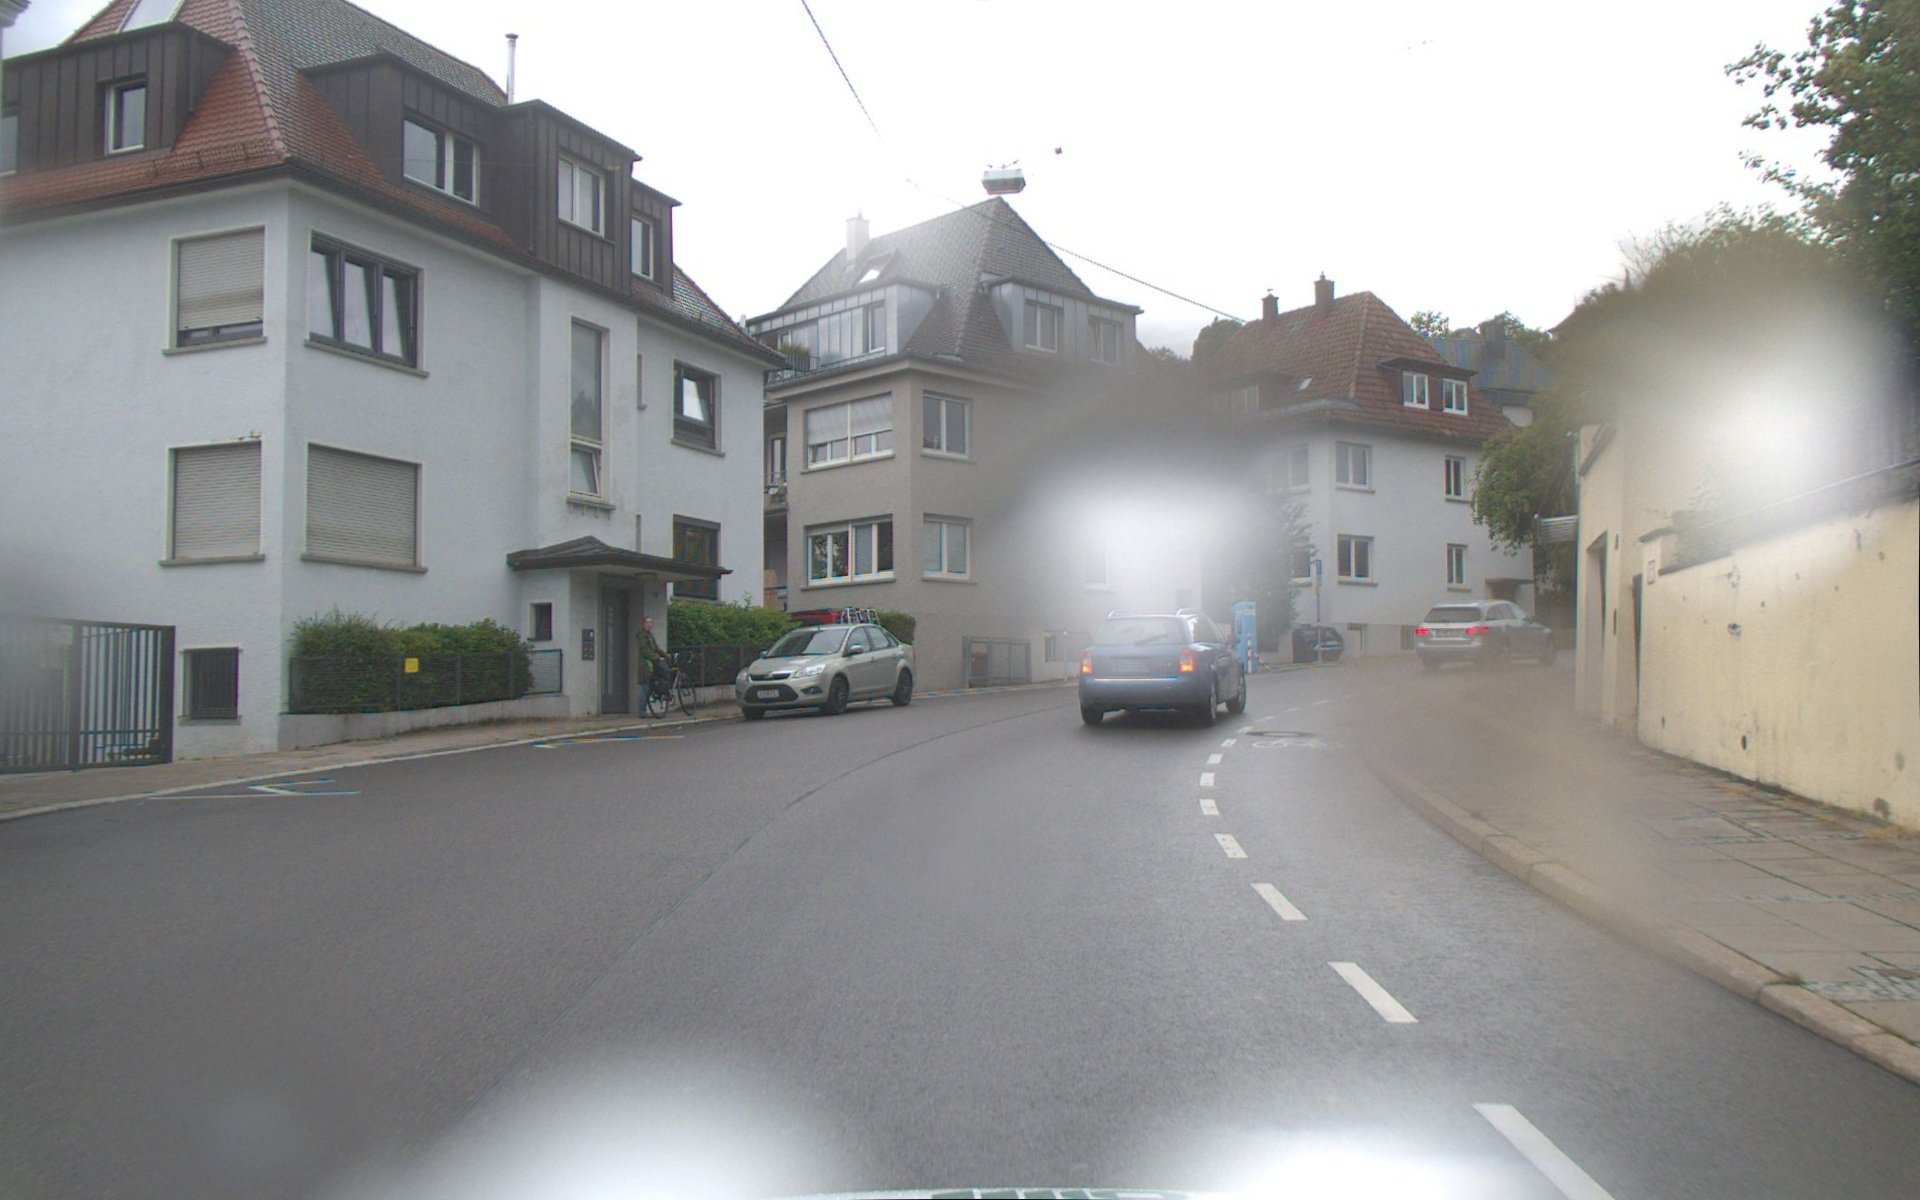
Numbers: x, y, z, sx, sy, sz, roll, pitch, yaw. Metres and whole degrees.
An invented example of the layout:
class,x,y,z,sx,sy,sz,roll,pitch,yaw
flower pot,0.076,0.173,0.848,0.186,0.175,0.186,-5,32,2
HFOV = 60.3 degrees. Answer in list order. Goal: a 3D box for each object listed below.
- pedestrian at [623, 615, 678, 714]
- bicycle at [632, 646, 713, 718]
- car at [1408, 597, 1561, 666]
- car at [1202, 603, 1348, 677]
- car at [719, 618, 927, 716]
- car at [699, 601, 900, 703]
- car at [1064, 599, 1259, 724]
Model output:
class,x,y,z,sx,sy,sz,roll,pitch,yaw
pedestrian,-5.133,1.056,27.457,0.482,1.605,0.948,-1,-1,18
bicycle,-4.710,1.330,27.257,0.446,1.086,1.922,-1,0,18
car,11.414,0.708,35.859,1.784,1.384,3.977,-1,-2,40
car,9.881,1.297,52.111,1.977,1.651,4.202,-1,-9,-35
car,-2.241,1.097,28.301,1.798,1.450,4.229,-3,-1,22
car,-3.596,1.161,37.064,3.911,1.854,1.997,-7,-3,28
car,2.783,0.768,22.044,1.773,1.464,4.083,-3,-1,18
